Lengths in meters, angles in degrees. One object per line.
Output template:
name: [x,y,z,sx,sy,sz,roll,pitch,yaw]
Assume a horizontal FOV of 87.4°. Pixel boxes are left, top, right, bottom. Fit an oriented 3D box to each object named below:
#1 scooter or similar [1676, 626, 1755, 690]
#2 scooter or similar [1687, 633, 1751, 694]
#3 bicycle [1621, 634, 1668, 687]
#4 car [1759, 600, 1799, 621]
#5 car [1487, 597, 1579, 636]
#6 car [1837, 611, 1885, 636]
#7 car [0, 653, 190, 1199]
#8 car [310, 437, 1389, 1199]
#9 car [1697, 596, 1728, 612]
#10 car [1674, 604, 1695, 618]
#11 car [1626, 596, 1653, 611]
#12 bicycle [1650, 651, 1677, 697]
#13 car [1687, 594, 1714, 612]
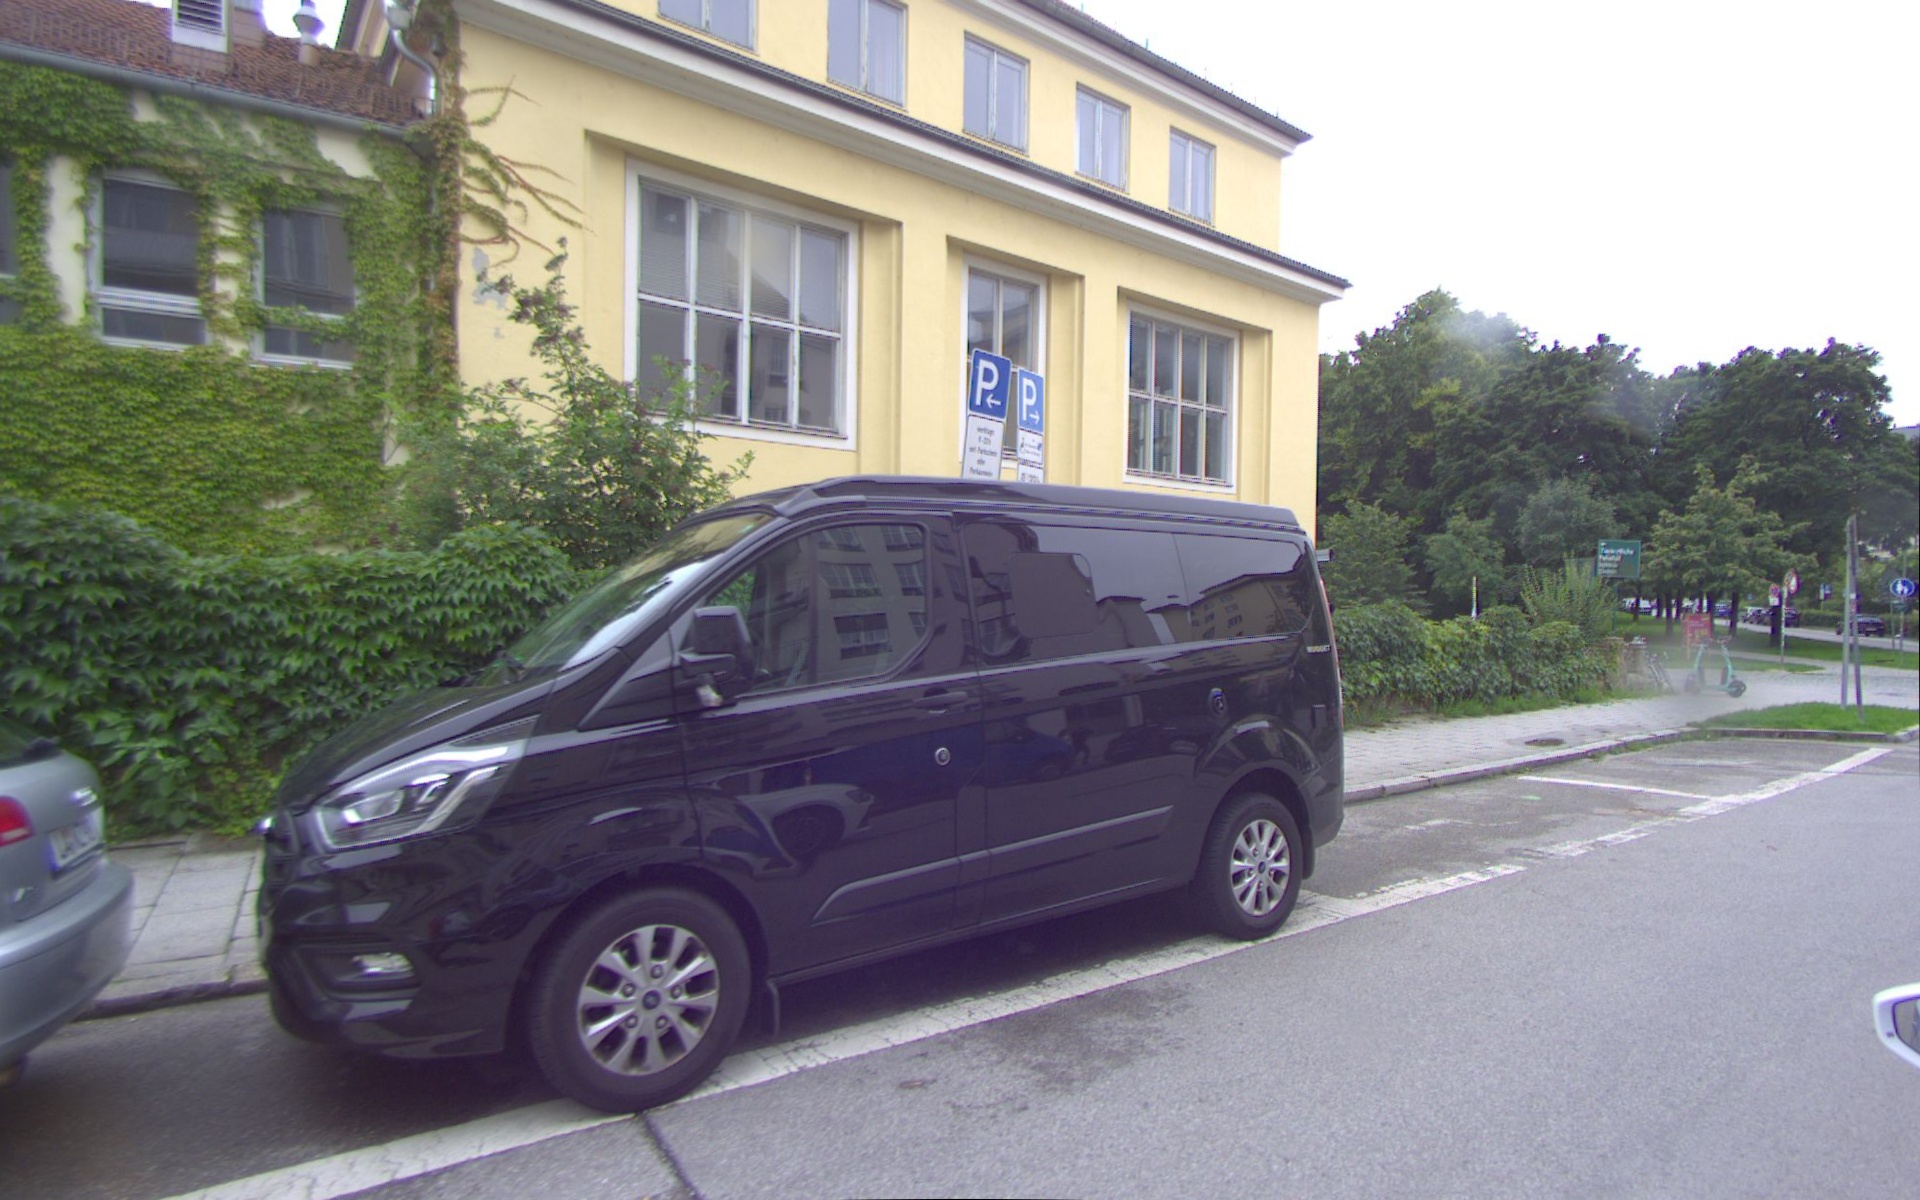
scooter or similar: [15.748,1.202,20.968,0.389,1.260,1.256,2,0,-25]
scooter or similar: [16.256,1.355,21.521,1.033,1.228,0.439,2,0,-6]
bicycle: [15.478,1.352,22.721,0.295,1.126,1.192,1,0,4]
car: [68.470,0.845,84.060,1.765,1.702,3.994,0,1,27]
car: [30.148,0.850,52.900,3.925,2.040,1.786,0,0,-6]
car: [59.534,1.521,66.440,1.623,1.579,3.552,1,1,30]
car: [-4.178,0.878,2.044,3.956,1.383,1.698,0,-3,-32]
car: [-0.241,0.626,4.623,4.576,2.005,1.913,0,-2,-35]
car: [80.787,0.426,107.868,1.963,1.622,4.248,1,1,27]
car: [90.878,1.368,126.007,1.703,1.725,3.992,1,0,30]
car: [75.011,0.394,110.929,1.964,1.622,4.460,1,1,28]
bicycle: [14.868,1.551,21.247,0.427,0.905,1.326,1,-1,34]
car: [85.516,0.299,116.084,2.036,1.992,4.966,1,1,31]
